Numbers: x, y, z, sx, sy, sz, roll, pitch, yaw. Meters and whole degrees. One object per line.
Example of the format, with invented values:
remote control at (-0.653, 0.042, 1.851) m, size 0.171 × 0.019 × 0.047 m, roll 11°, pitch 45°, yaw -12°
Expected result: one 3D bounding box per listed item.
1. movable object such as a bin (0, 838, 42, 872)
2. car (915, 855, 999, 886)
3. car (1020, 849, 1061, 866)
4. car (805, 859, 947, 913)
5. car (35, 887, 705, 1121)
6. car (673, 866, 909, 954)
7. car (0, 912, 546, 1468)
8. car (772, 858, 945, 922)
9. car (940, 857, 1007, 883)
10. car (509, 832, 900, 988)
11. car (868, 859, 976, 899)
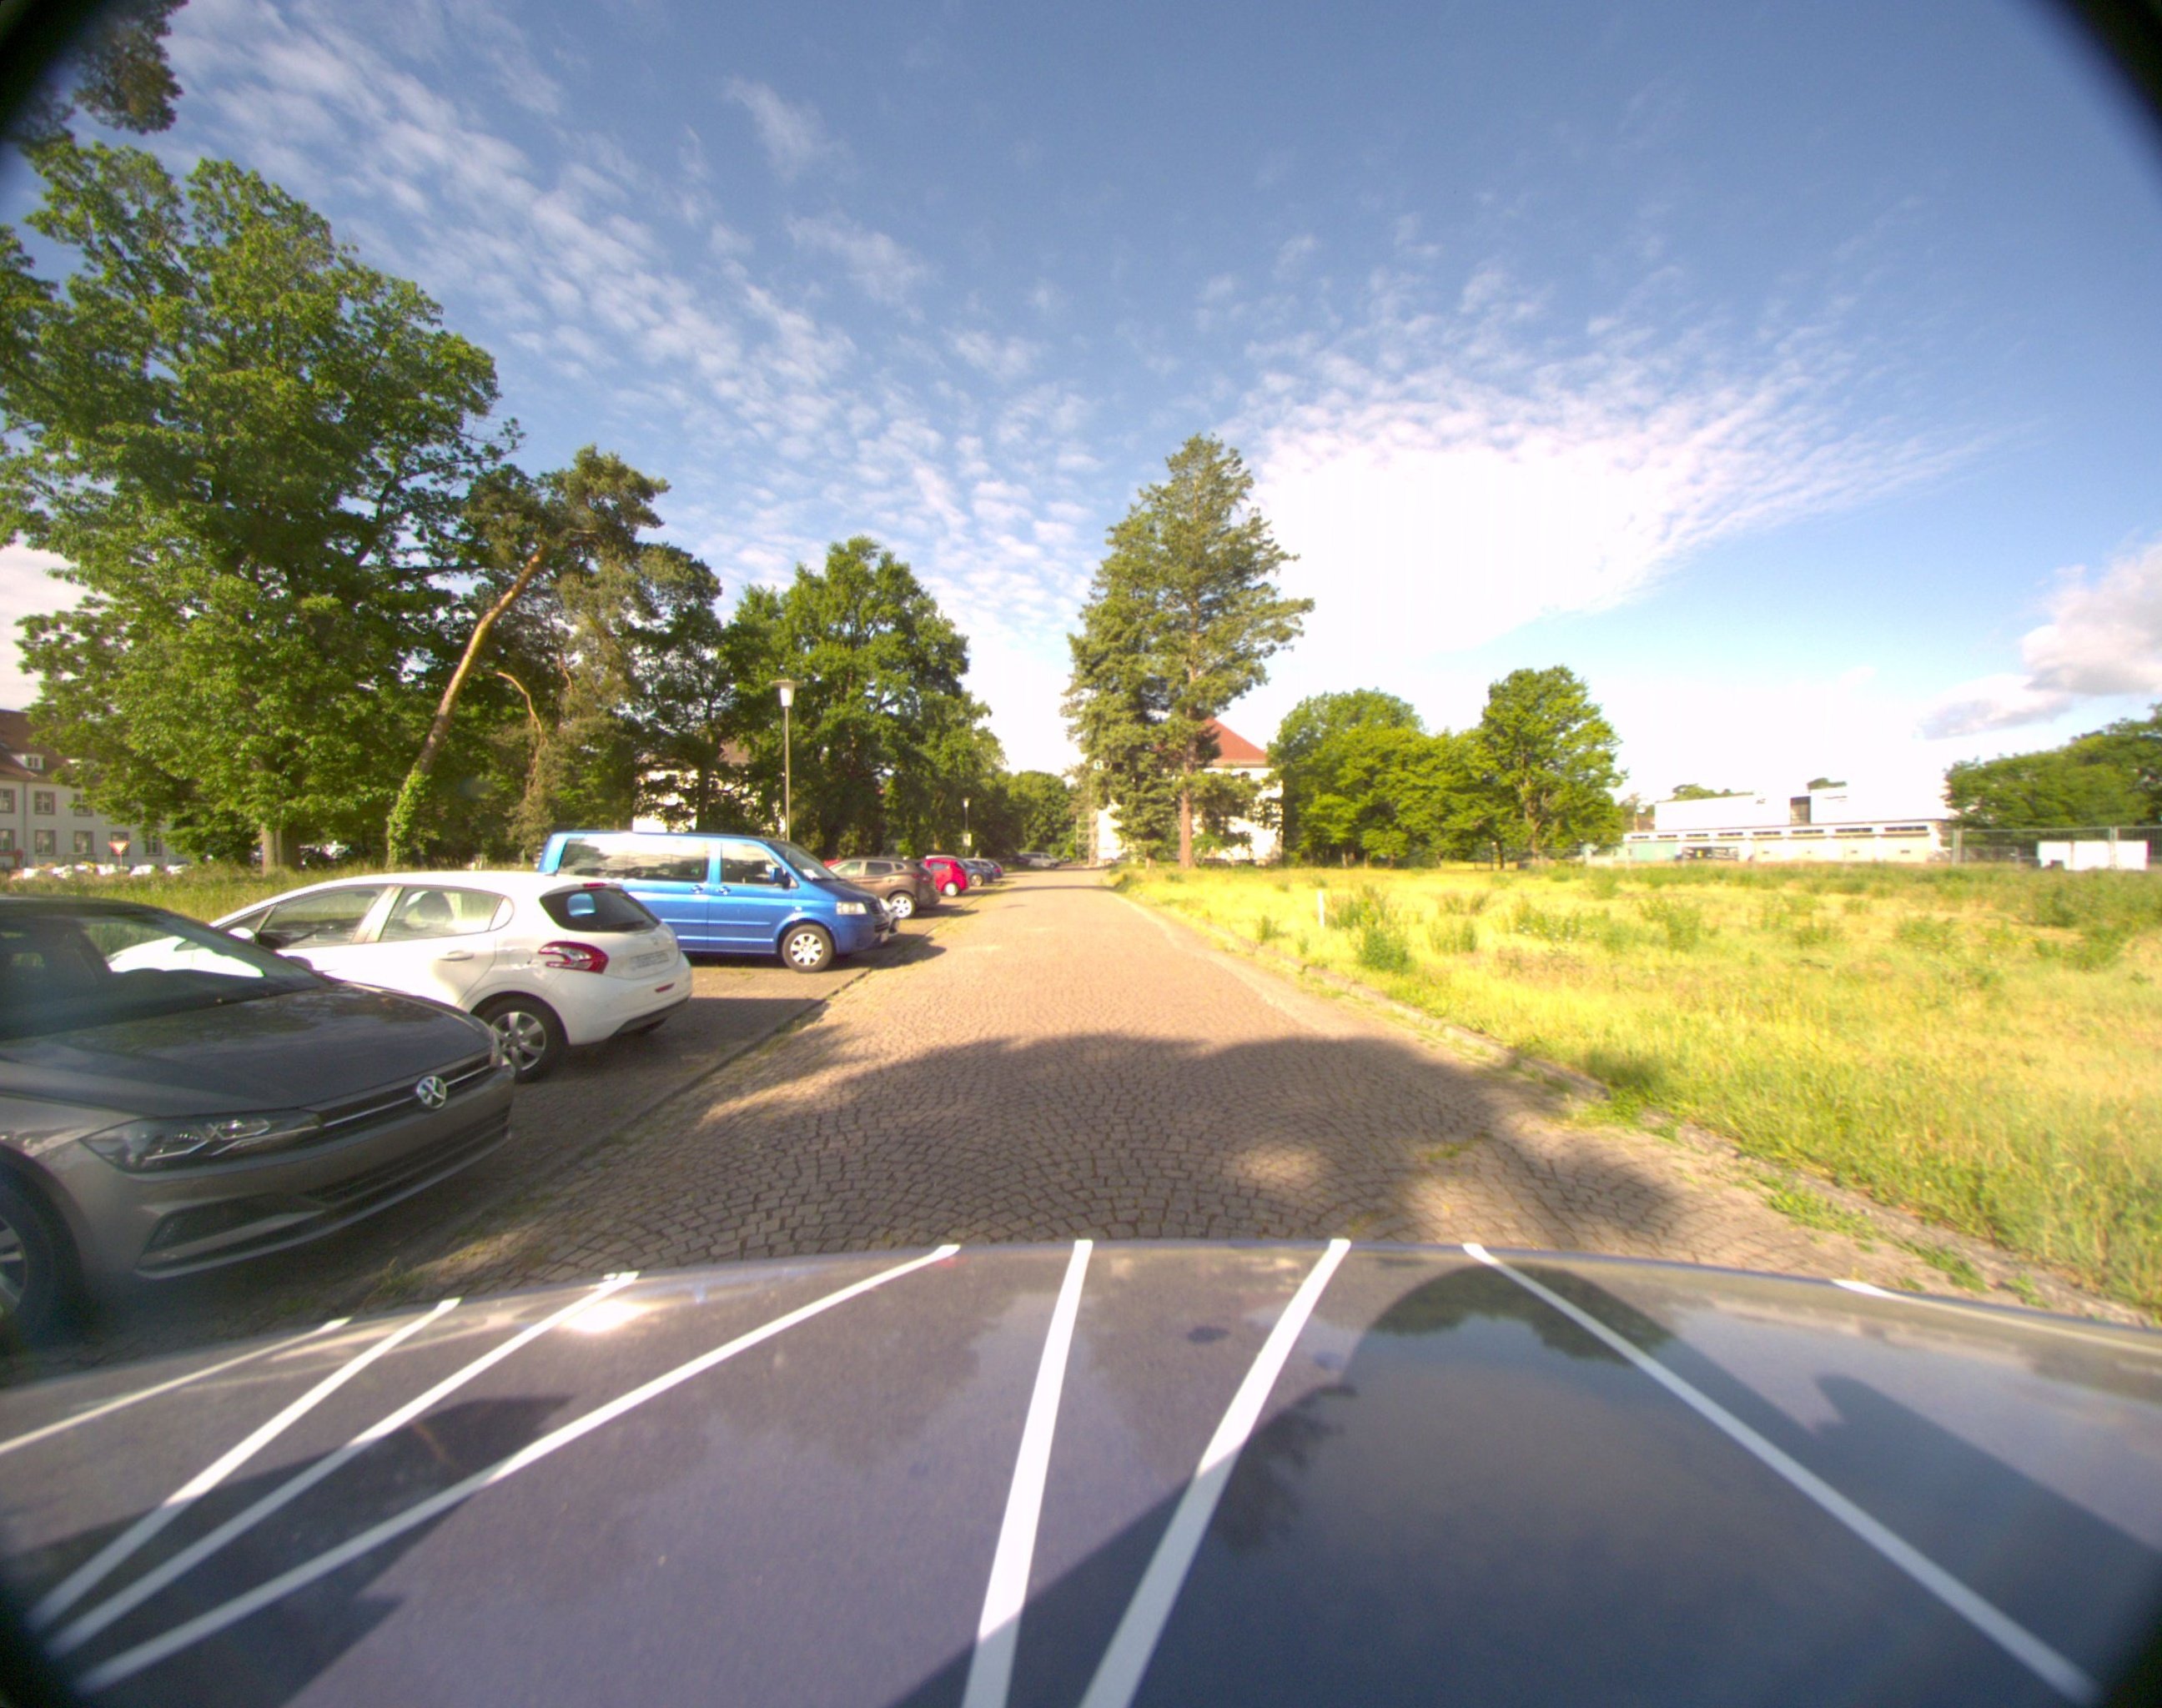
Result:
movable object such as a bin at (-92.881, 0.111, 64.504) m, size 2.178 × 2.884 × 5.074 m, roll 0°, pitch 0°, yaw 5°
car at (-6.584, 0.862, 40.692) m, size 4.274 × 1.589 × 1.651 m, roll -1°, pitch 1°, yaw -3°
car at (-5.061, 0.418, 94.455) m, size 4.995 × 2.123 × 2.164 m, roll 0°, pitch 0°, yaw -4°
car at (-6.107, 0.931, 22.949) m, size 3.835 × 1.530 × 1.703 m, roll 1°, pitch 0°, yaw -2°
car at (-5.196, 1.045, 5.976) m, size 3.655 × 1.483 × 1.634 m, roll 0°, pitch 0°, yaw -2°
car at (-5.186, 0.993, 13.966) m, size 3.731 × 1.458 × 1.609 m, roll 1°, pitch 0°, yaw -5°
car at (-4.683, 1.035, 3.051) m, size 3.791 × 1.442 × 1.757 m, roll 1°, pitch 0°, yaw -1°
car at (-5.788, 0.923, 20.168) m, size 4.119 × 1.601 × 1.785 m, roll 0°, pitch 0°, yaw -4°
car at (-6.393, 0.953, 45.430) m, size 3.810 × 1.458 × 1.746 m, roll -1°, pitch 0°, yaw -2°
car at (-5.332, 0.772, 11.328) m, size 4.767 × 2.002 × 1.999 m, roll 2°, pitch 0°, yaw -2°
car at (-6.305, 0.964, 30.409) m, size 3.998 × 1.487 × 1.540 m, roll -1°, pitch 1°, yaw -3°
